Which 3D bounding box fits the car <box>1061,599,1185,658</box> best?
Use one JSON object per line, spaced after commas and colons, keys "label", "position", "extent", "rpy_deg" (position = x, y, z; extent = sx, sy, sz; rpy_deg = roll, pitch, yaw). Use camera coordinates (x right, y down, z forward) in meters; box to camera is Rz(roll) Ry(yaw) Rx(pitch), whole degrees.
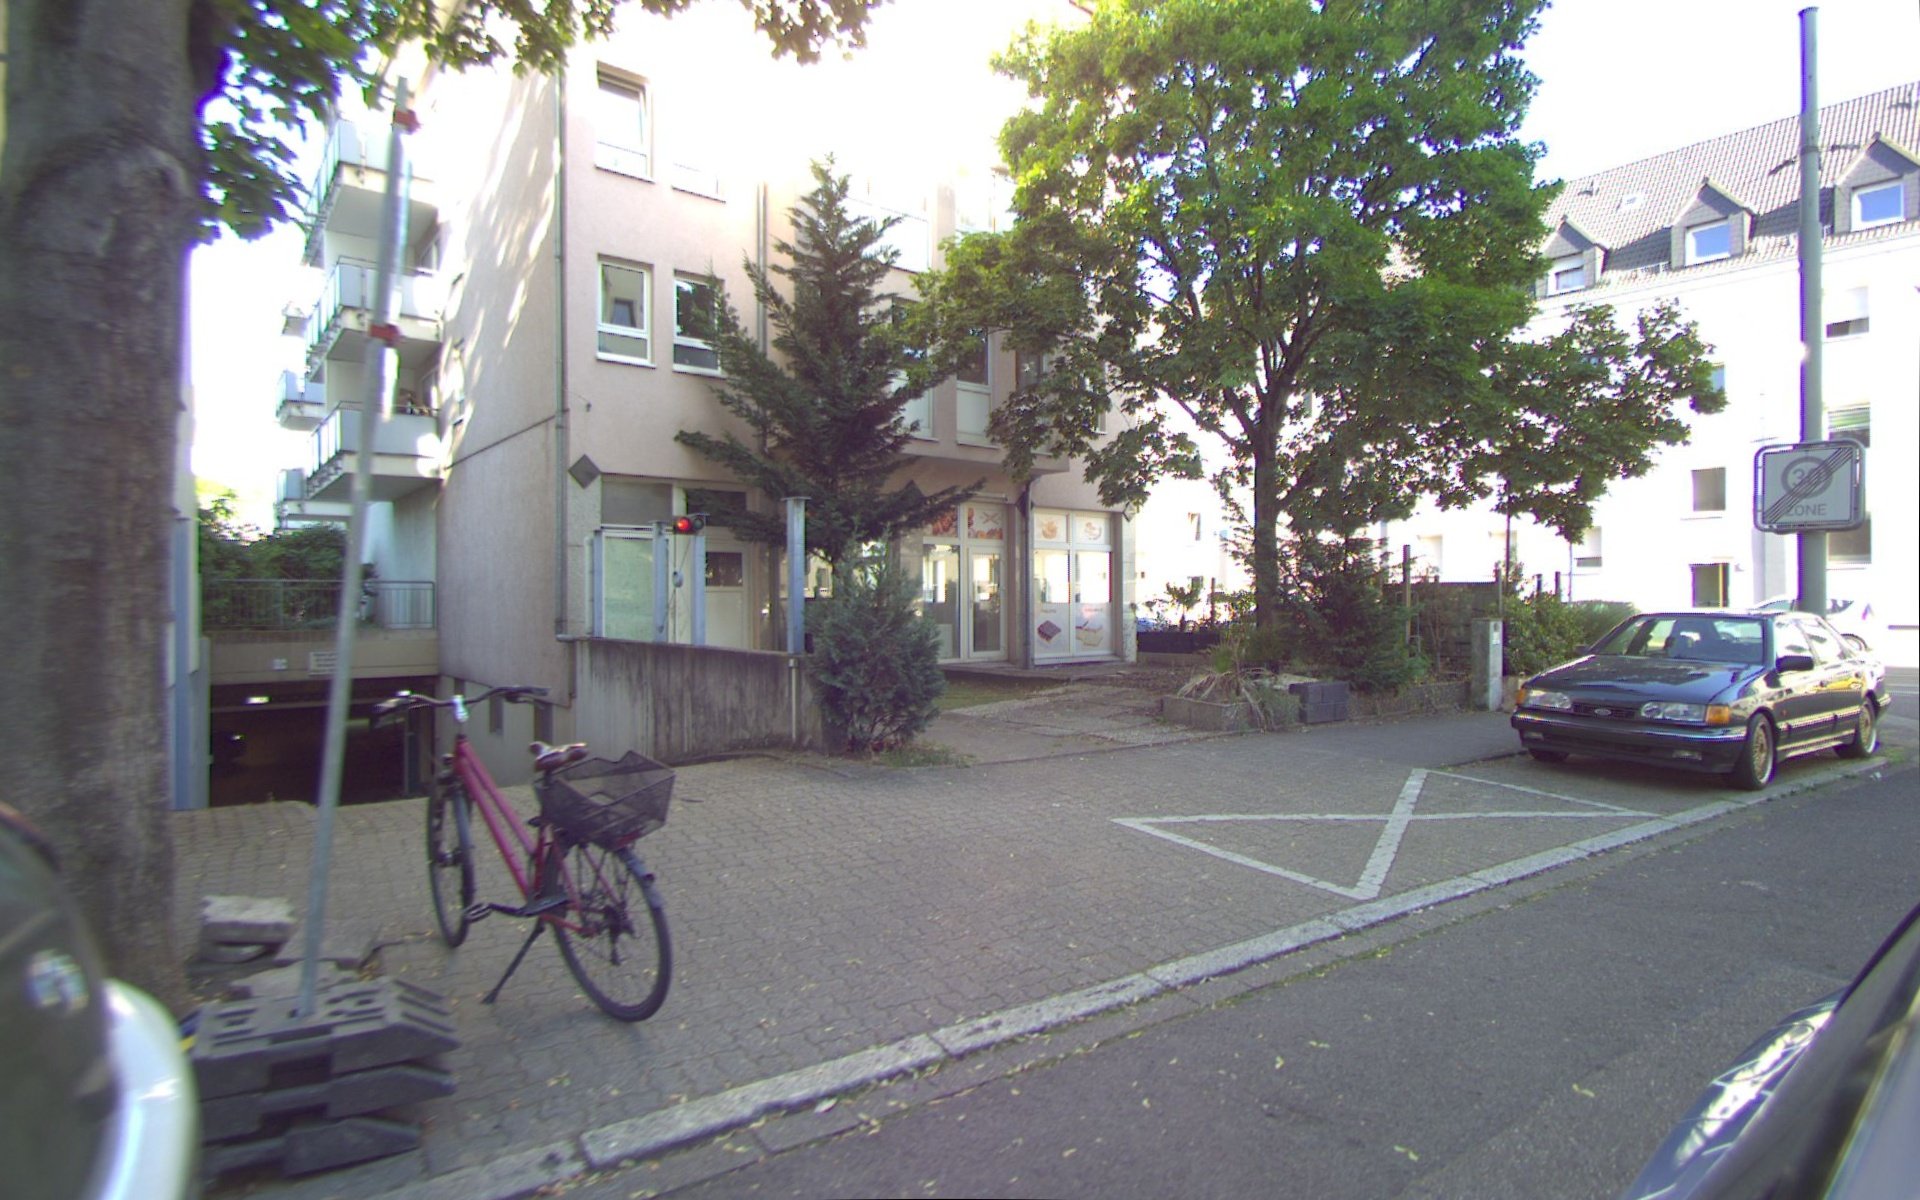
{"label": "car", "position": [4.036, 0.679, 25.327], "extent": [1.242, 1.373, 2.872], "rpy_deg": [-2, 1, -44]}

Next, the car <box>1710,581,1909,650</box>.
{"label": "car", "position": [21.745, 0.393, 26.010], "extent": [1.620, 1.627, 3.700], "rpy_deg": [0, -1, -41]}

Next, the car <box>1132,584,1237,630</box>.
{"label": "car", "position": [9.137, 0.287, 41.434], "extent": [1.664, 1.804, 3.994], "rpy_deg": [0, -1, -40]}

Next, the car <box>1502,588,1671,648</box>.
{"label": "car", "position": [18.491, 0.554, 30.005], "extent": [1.620, 1.527, 3.870], "rpy_deg": [0, -4, -41]}

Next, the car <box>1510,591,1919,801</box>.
{"label": "car", "position": [7.030, 0.680, 9.236], "extent": [4.421, 1.425, 1.668], "rpy_deg": [-1, 3, -34]}

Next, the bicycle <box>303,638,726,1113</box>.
{"label": "bicycle", "position": [-1.772, 0.828, 3.830], "extent": [1.966, 1.169, 0.740], "rpy_deg": [4, 4, 42]}

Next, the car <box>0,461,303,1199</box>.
{"label": "car", "position": [-2.551, 0.732, 0.328], "extent": [3.887, 1.555, 1.809], "rpy_deg": [-1, -1, -33]}

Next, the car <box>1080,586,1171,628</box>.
{"label": "car", "position": [7.492, 0.320, 46.204], "extent": [1.664, 1.804, 3.994], "rpy_deg": [0, -1, -40]}
